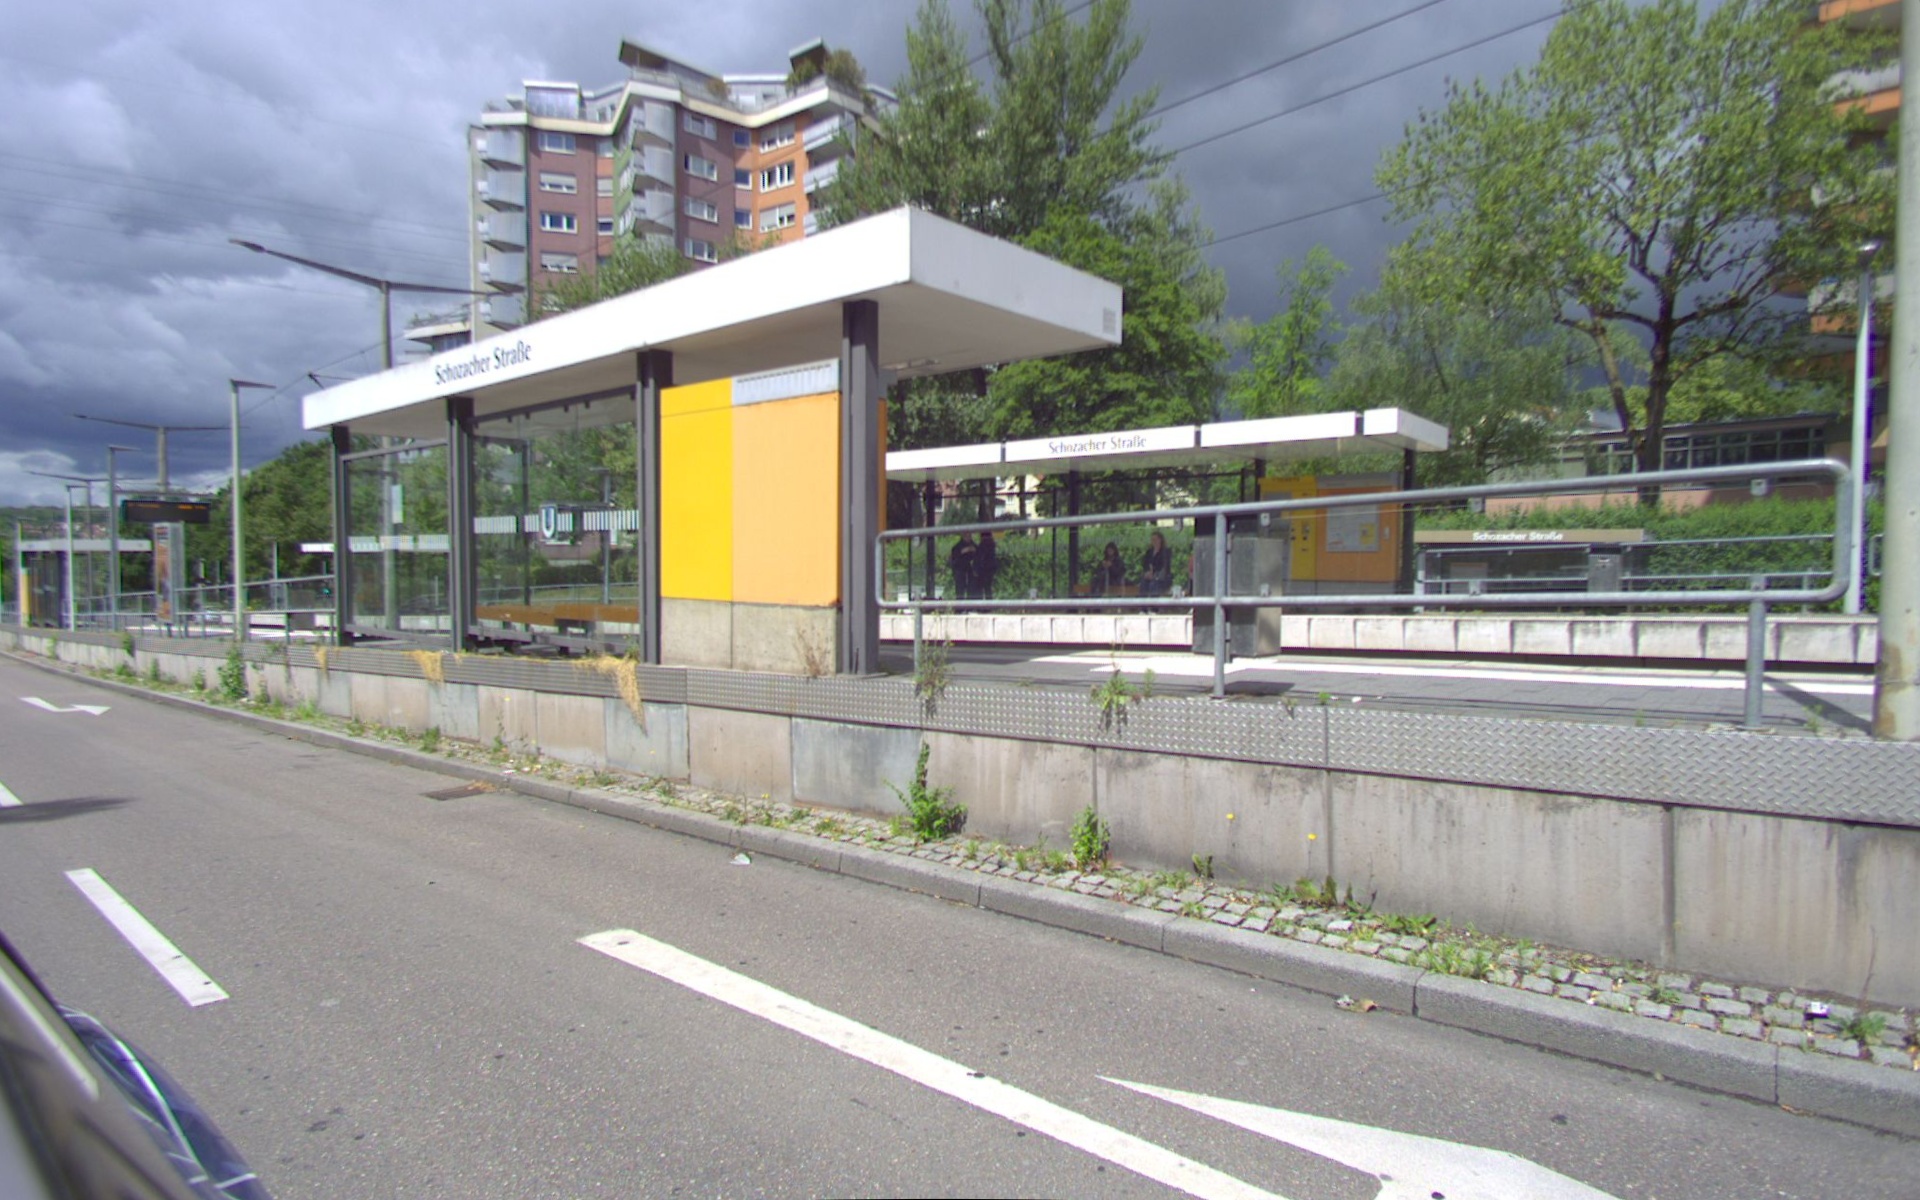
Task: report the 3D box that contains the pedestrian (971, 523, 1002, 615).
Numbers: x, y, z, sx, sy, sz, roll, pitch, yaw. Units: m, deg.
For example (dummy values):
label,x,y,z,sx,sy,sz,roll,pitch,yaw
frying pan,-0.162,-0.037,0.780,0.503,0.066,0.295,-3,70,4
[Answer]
label,x,y,z,sx,sy,sz,roll,pitch,yaw
pedestrian,0.499,-0.584,19.319,0.544,1.726,0.386,-1,0,-2

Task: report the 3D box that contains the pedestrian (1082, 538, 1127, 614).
label,x,y,z,sx,sy,sz,roll,pitch,yaw
pedestrian,2.498,-0.401,17.490,0.463,1.287,0.704,-1,0,40

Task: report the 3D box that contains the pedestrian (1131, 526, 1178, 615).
label,x,y,z,sx,sy,sz,roll,pitch,yaw
pedestrian,3.213,-0.480,16.689,0.463,1.428,0.704,-1,0,40

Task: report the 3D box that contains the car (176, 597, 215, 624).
label,x,y,z,sx,sy,sz,roll,pitch,yaw
car,-60.447,0.835,80.005,4.000,2.029,1.714,-1,0,43

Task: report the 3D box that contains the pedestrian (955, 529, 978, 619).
label,x,y,z,sx,sy,sz,roll,pitch,yaw
pedestrian,0.124,-0.502,19.765,0.421,1.726,0.353,-1,0,-1

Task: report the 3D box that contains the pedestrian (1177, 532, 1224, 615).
label,x,y,z,sx,sy,sz,roll,pitch,yaw
pedestrian,3.837,-0.418,16.136,0.463,1.287,0.704,-1,0,40
